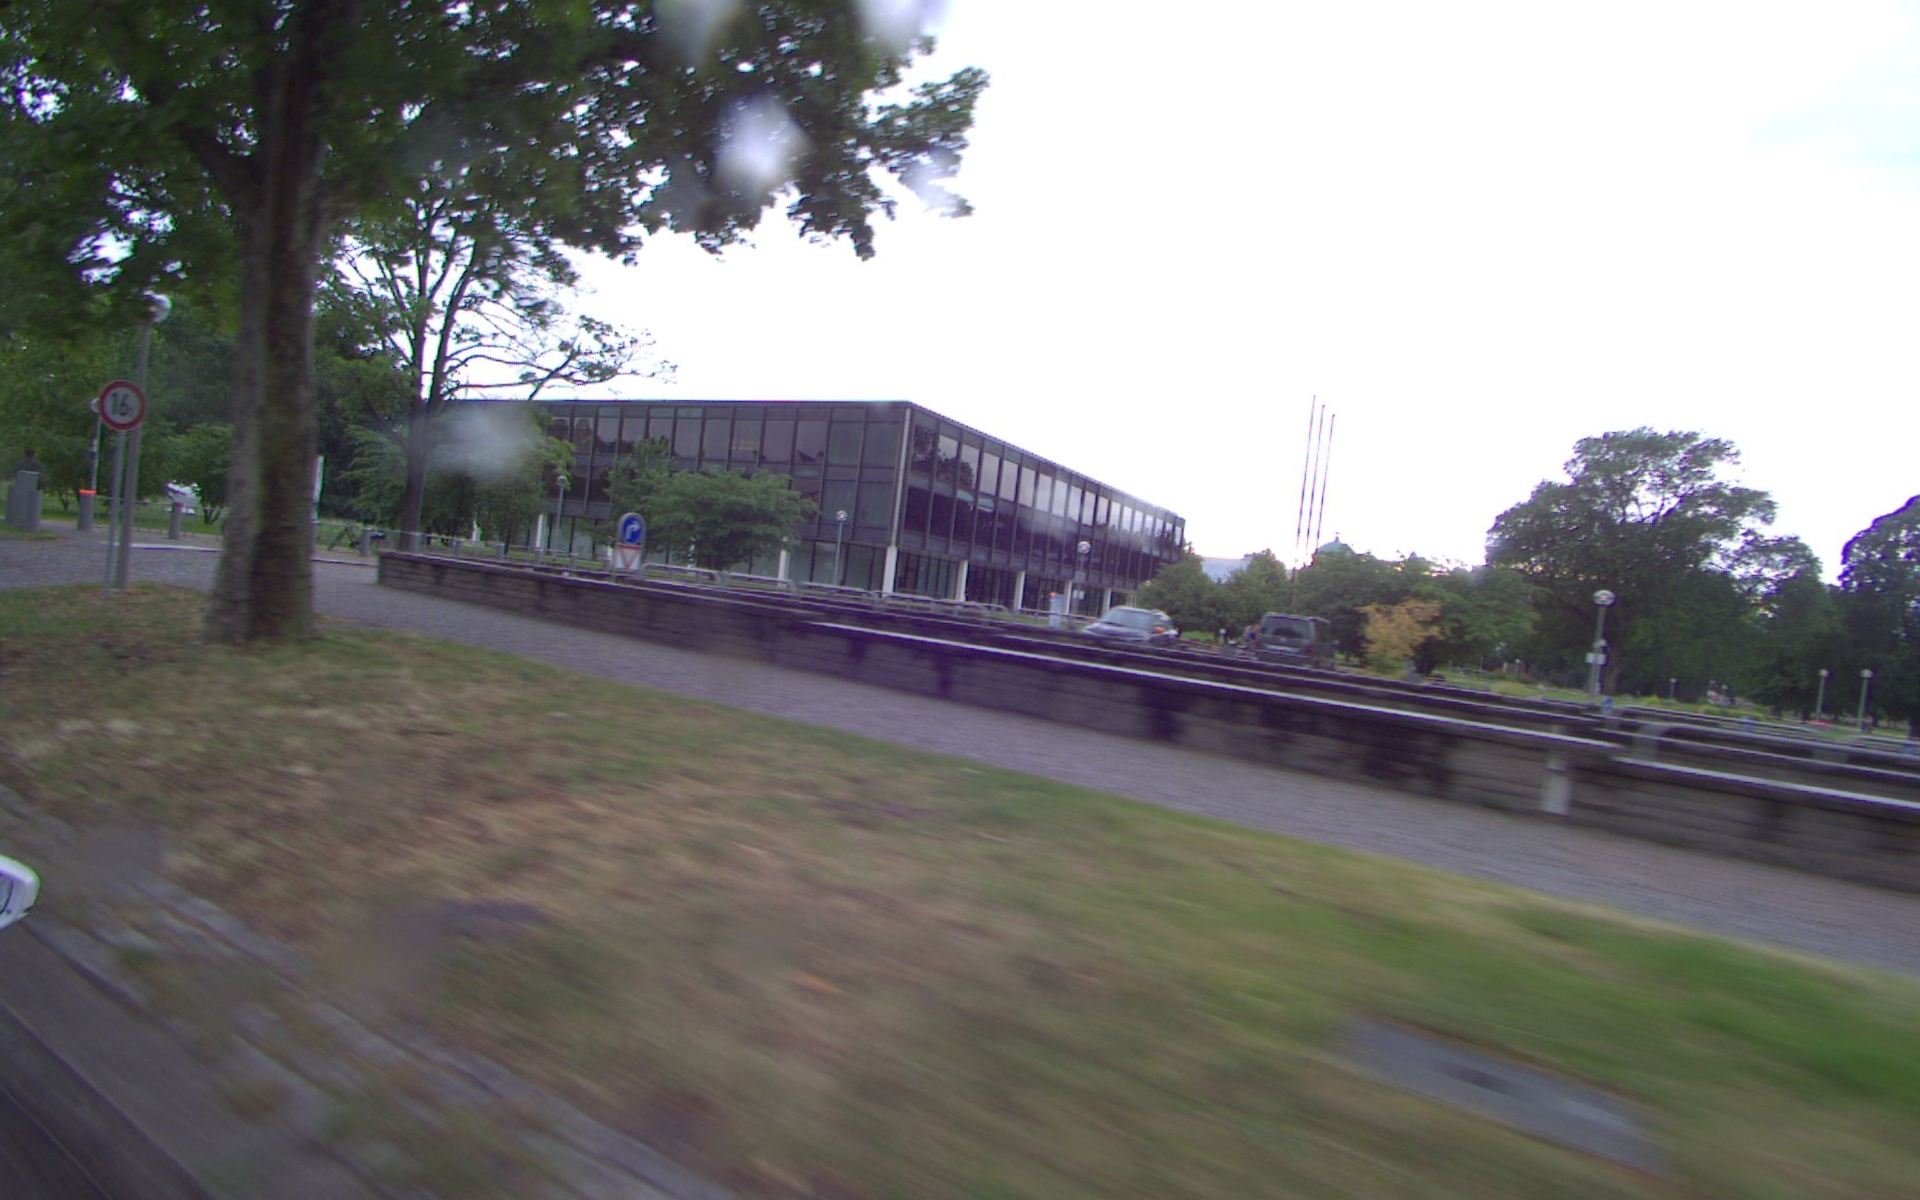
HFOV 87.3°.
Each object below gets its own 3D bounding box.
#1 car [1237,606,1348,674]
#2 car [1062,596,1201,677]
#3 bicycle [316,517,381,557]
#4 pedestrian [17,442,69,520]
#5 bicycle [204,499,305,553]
[{"bbox_3d":[10.895,1.353,32.693,2.418,1.785,5.015,7,0,28],"label":"car"},{"bbox_3d":[4.135,0.856,23.765,1.630,1.621,3.986,7,2,33],"label":"car"},{"bbox_3d":[-20.316,-2.095,33.449,0.697,1.099,1.644,8,1,27],"label":"bicycle"},{"bbox_3d":[-21.705,-2.809,23.814,0.681,1.741,0.705,7,3,32],"label":"pedestrian"},{"bbox_3d":[-19.541,-2.034,27.926,0.942,1.188,2.040,7,1,22],"label":"bicycle"}]
